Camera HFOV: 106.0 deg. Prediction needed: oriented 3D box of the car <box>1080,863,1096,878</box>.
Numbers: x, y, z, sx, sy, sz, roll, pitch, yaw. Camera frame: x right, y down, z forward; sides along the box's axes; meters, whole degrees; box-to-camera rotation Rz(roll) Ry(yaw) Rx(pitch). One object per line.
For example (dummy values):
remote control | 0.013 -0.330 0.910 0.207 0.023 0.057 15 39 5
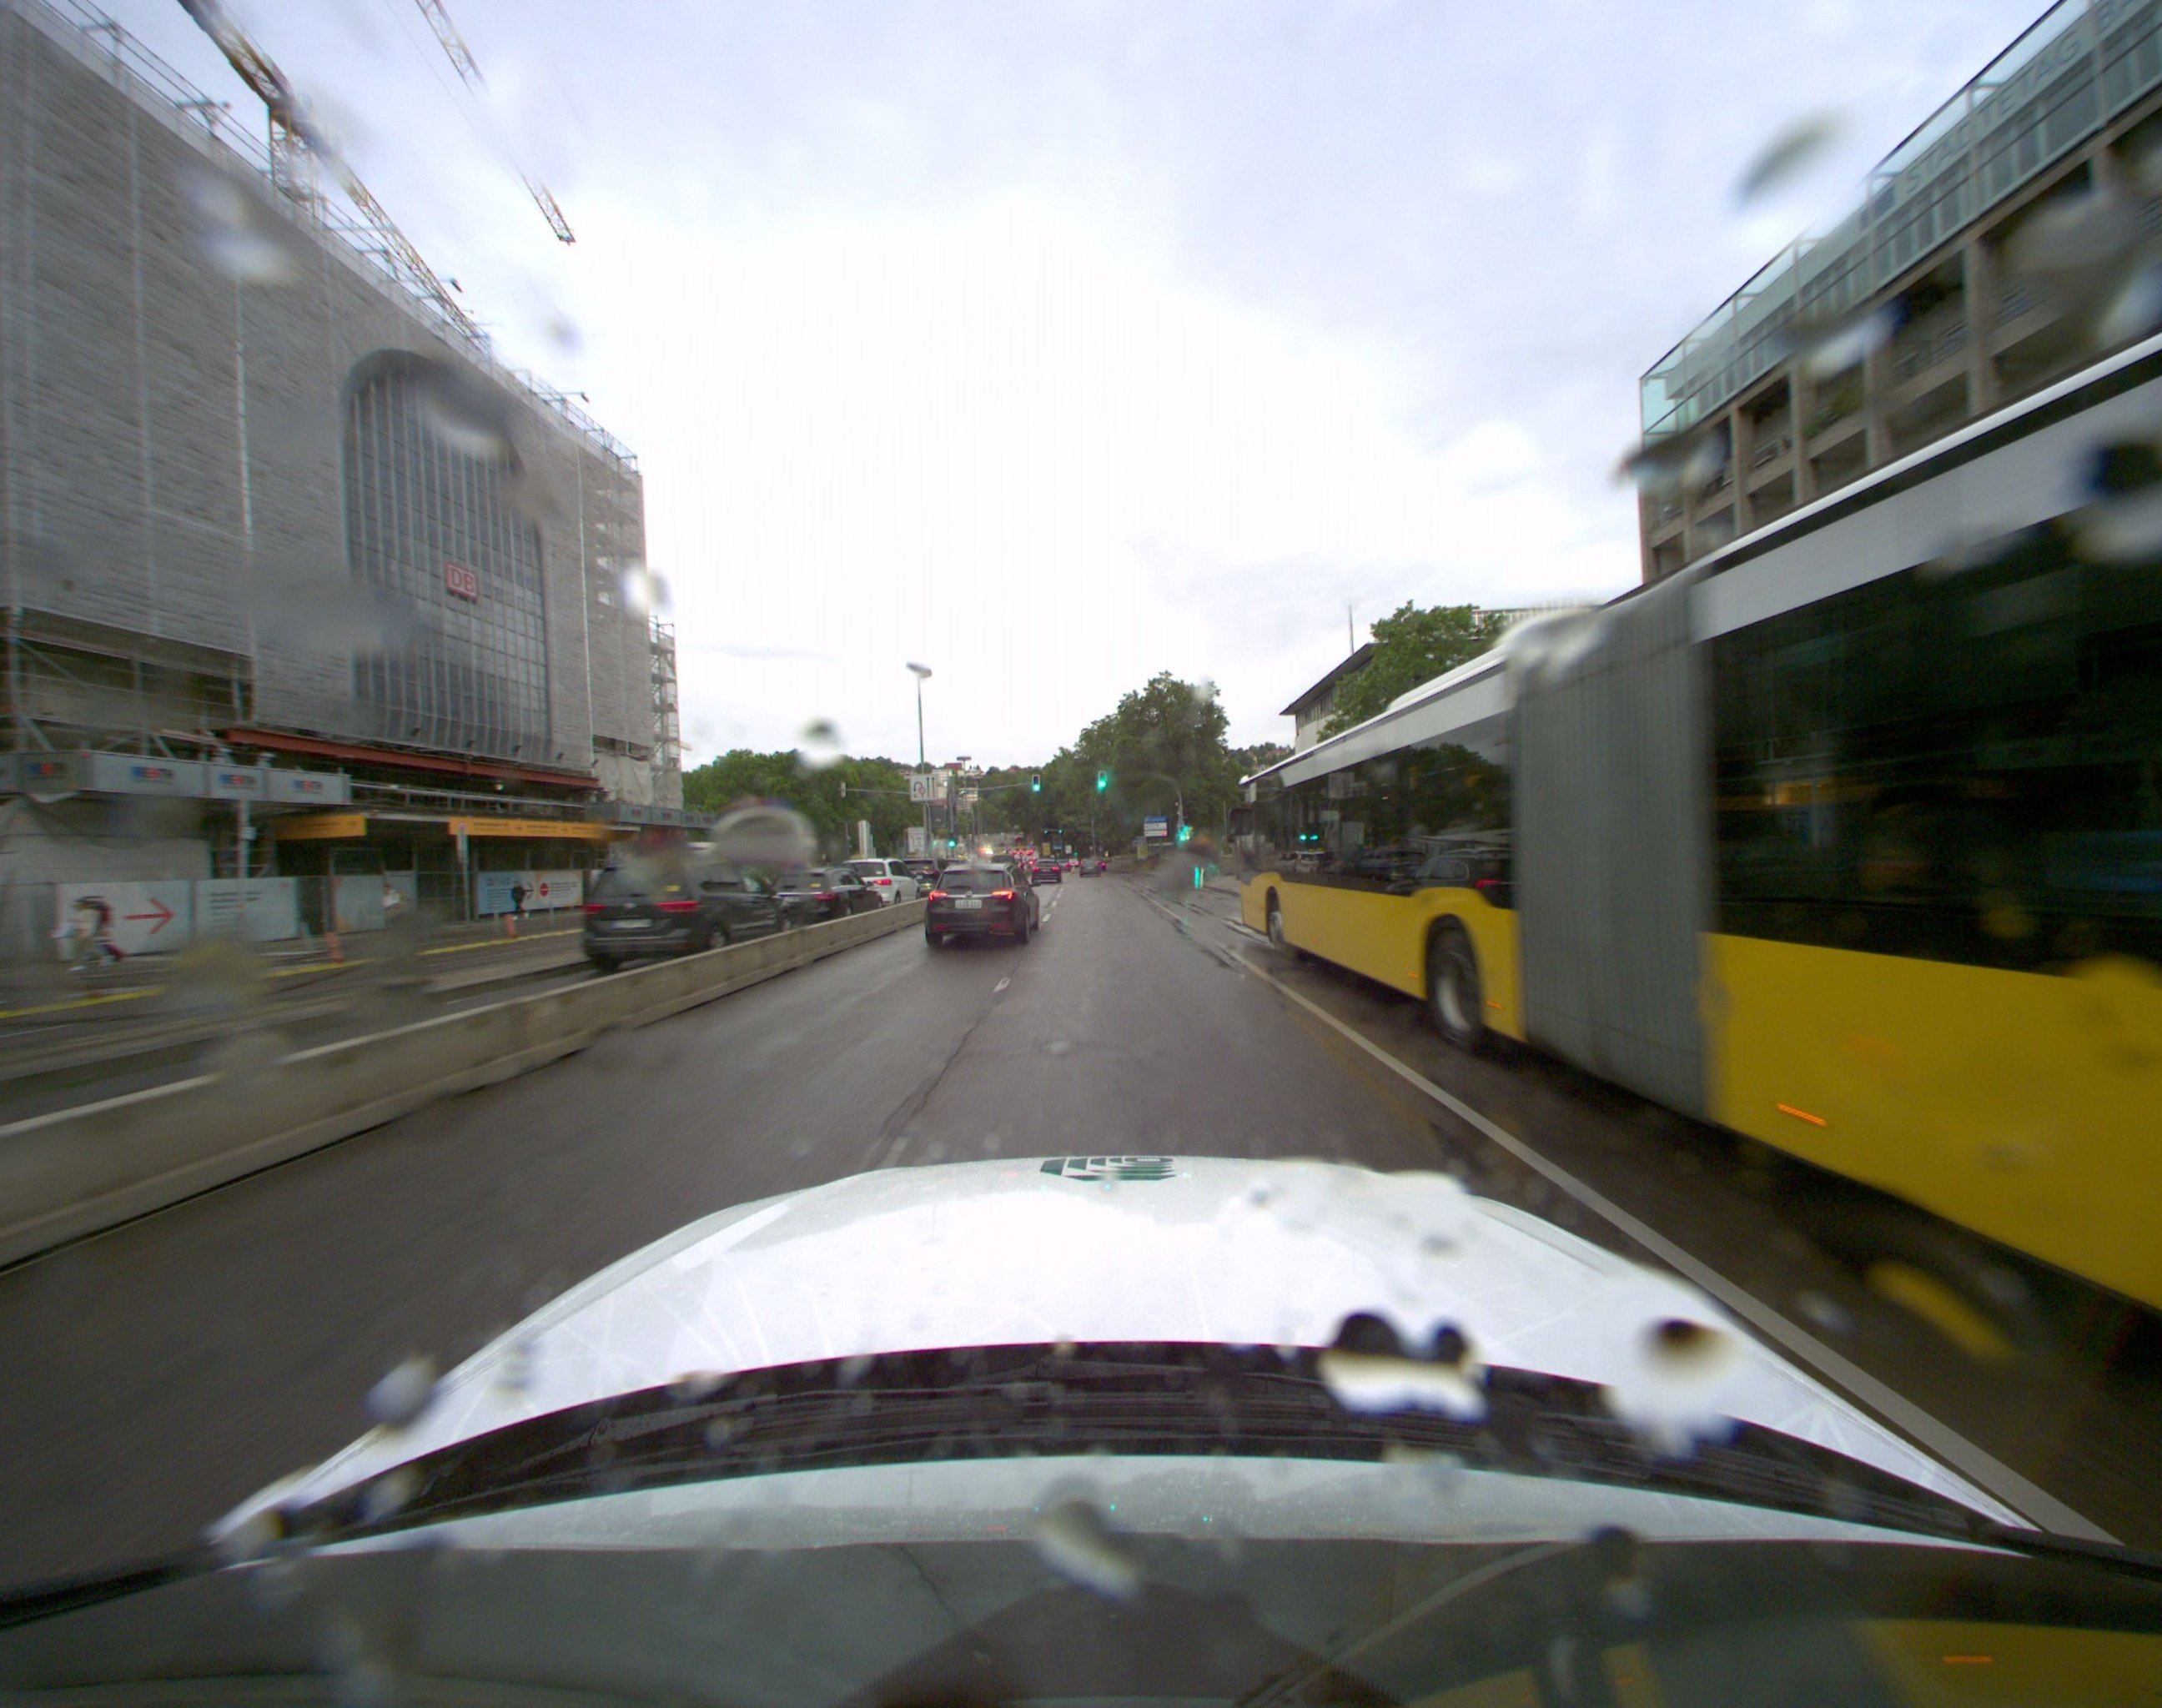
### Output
car | 0.773 1.799 88.592 1.668 1.581 3.239 -1 -1 0

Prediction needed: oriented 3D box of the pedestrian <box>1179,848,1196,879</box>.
pedestrian | 6.484 0.566 49.492 0.746 1.805 0.706 -2 -1 -14

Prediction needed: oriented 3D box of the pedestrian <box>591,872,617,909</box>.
pedestrian | -24.478 1.845 41.802 0.776 1.841 0.772 -3 0 0

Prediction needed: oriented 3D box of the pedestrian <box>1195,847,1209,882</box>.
pedestrian | 7.646 0.677 51.568 0.555 2.146 0.665 -2 -1 -14

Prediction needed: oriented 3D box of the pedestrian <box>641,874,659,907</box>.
pedestrian | -24.452 2.050 46.205 0.675 1.841 0.717 -2 0 -13

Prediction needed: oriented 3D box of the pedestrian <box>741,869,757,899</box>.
pedestrian | -20.956 1.889 51.406 0.695 1.841 0.528 -3 -1 -1

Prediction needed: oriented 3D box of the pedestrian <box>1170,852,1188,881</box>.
pedestrian | 6.259 0.792 52.225 0.787 1.838 0.946 -2 -1 -14

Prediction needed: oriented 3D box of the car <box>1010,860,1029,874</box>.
car | -7.178 1.510 95.080 1.989 1.567 4.870 -4 -1 -3

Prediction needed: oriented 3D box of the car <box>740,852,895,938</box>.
car | -6.121 0.876 19.668 2.043 1.711 5.054 -3 0 0

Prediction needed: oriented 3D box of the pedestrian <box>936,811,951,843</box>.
pedestrian | -8.455 -1.660 50.223 0.830 1.886 0.689 -3 2 -9

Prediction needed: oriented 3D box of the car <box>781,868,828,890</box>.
car | -20.221 1.817 59.748 1.986 1.468 4.001 -1 -1 1

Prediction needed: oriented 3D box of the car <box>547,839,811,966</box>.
car | -6.273 0.676 13.469 1.987 1.654 4.641 -3 0 0

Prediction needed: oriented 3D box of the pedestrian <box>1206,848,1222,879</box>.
pedestrian | 7.992 0.560 49.021 0.542 1.805 0.751 -2 -1 -27

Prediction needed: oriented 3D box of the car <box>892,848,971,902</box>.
car | -5.529 0.748 30.767 1.987 1.787 4.847 -3 0 0

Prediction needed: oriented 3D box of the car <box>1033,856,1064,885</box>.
car | -2.032 1.033 51.846 1.825 1.686 4.132 -3 0 -1

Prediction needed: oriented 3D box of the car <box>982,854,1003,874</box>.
car | -9.584 1.071 88.321 1.990 2.014 5.361 -1 -1 -4

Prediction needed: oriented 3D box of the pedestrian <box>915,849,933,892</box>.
pedestrian | -7.422 0.775 38.544 0.619 2.013 0.836 -2 0 0

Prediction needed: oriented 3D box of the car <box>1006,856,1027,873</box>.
car | -6.326 1.033 79.996 1.819 1.511 4.485 -1 -1 -3

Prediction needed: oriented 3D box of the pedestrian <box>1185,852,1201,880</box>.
pedestrian | 6.995 0.722 50.937 0.872 1.691 0.758 -3 0 0

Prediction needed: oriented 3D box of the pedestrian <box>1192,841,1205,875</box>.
pedestrian | 7.618 0.272 52.757 0.703 2.146 0.724 -3 0 12

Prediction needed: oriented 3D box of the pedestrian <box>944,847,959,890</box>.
pedestrian | -6.193 0.667 38.981 0.526 2.013 0.890 -2 0 -1

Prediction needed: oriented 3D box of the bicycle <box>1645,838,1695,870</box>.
bicycle | 24.715 0.011 34.211 0.657 1.255 2.015 -2 0 3

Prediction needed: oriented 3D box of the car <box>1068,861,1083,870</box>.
car | -0.944 1.931 137.074 1.814 1.574 3.986 -1 -1 -10

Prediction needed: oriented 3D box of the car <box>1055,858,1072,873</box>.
car | -2.099 1.351 96.709 1.898 1.717 3.998 -1 -1 -1

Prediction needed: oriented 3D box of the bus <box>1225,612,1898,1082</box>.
bus | 4.155 -0.002 10.293 3.102 3.205 9.242 -1 -1 1

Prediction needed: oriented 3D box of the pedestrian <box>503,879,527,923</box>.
pedestrian | -24.230 2.013 34.872 0.536 1.841 0.768 -2 0 -12

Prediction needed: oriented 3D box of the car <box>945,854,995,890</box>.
car | -5.682 0.907 42.313 1.780 1.685 4.667 -3 0 1

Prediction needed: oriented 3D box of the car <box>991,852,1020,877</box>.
car | -5.920 0.836 64.043 1.989 1.845 5.057 -1 -1 -3

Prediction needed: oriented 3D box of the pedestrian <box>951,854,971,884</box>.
pedestrian | -7.738 0.968 52.529 0.995 1.886 0.687 -3 -1 23

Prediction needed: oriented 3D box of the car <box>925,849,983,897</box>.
car | -5.563 0.801 36.211 1.708 1.892 4.610 -3 0 1

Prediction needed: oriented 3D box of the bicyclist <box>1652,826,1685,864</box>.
bicyclist | 24.565 -0.374 34.064 0.647 1.554 0.908 -3 -1 3

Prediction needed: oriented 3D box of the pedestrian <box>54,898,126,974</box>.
pedestrian | -23.388 1.909 19.241 0.682 1.685 0.835 -2 0 -12

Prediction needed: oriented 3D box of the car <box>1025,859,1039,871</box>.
car | -8.131 1.833 135.357 1.993 1.827 3.987 -1 -1 -9

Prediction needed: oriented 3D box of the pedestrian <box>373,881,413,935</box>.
pedestrian | -24.650 1.918 29.195 0.772 1.841 0.831 -2 0 -13

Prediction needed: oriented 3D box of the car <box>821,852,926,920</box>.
car | -6.160 0.909 24.749 1.988 1.787 4.452 -3 0 -1

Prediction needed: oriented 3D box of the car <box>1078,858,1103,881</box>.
car | 0.752 1.216 64.467 1.846 1.717 3.998 -1 -1 -1

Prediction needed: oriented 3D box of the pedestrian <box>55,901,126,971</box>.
pedestrian | -24.296 2.001 19.984 0.673 1.613 0.839 -2 0 4

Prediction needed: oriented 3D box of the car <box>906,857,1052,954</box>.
car | -1.744 0.851 15.613 1.870 1.508 4.855 -2 0 3

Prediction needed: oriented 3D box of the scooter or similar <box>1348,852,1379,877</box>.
scooter or similar | 14.510 0.539 41.801 0.573 1.231 1.352 0 -1 -45

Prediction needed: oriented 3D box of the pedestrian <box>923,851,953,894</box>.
pedestrian | -6.938 0.885 39.517 0.825 2.013 1.034 -2 0 38

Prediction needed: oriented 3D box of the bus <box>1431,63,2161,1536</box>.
bus | 3.931 -0.139 1.125 3.129 3.247 9.138 -1 -1 2
